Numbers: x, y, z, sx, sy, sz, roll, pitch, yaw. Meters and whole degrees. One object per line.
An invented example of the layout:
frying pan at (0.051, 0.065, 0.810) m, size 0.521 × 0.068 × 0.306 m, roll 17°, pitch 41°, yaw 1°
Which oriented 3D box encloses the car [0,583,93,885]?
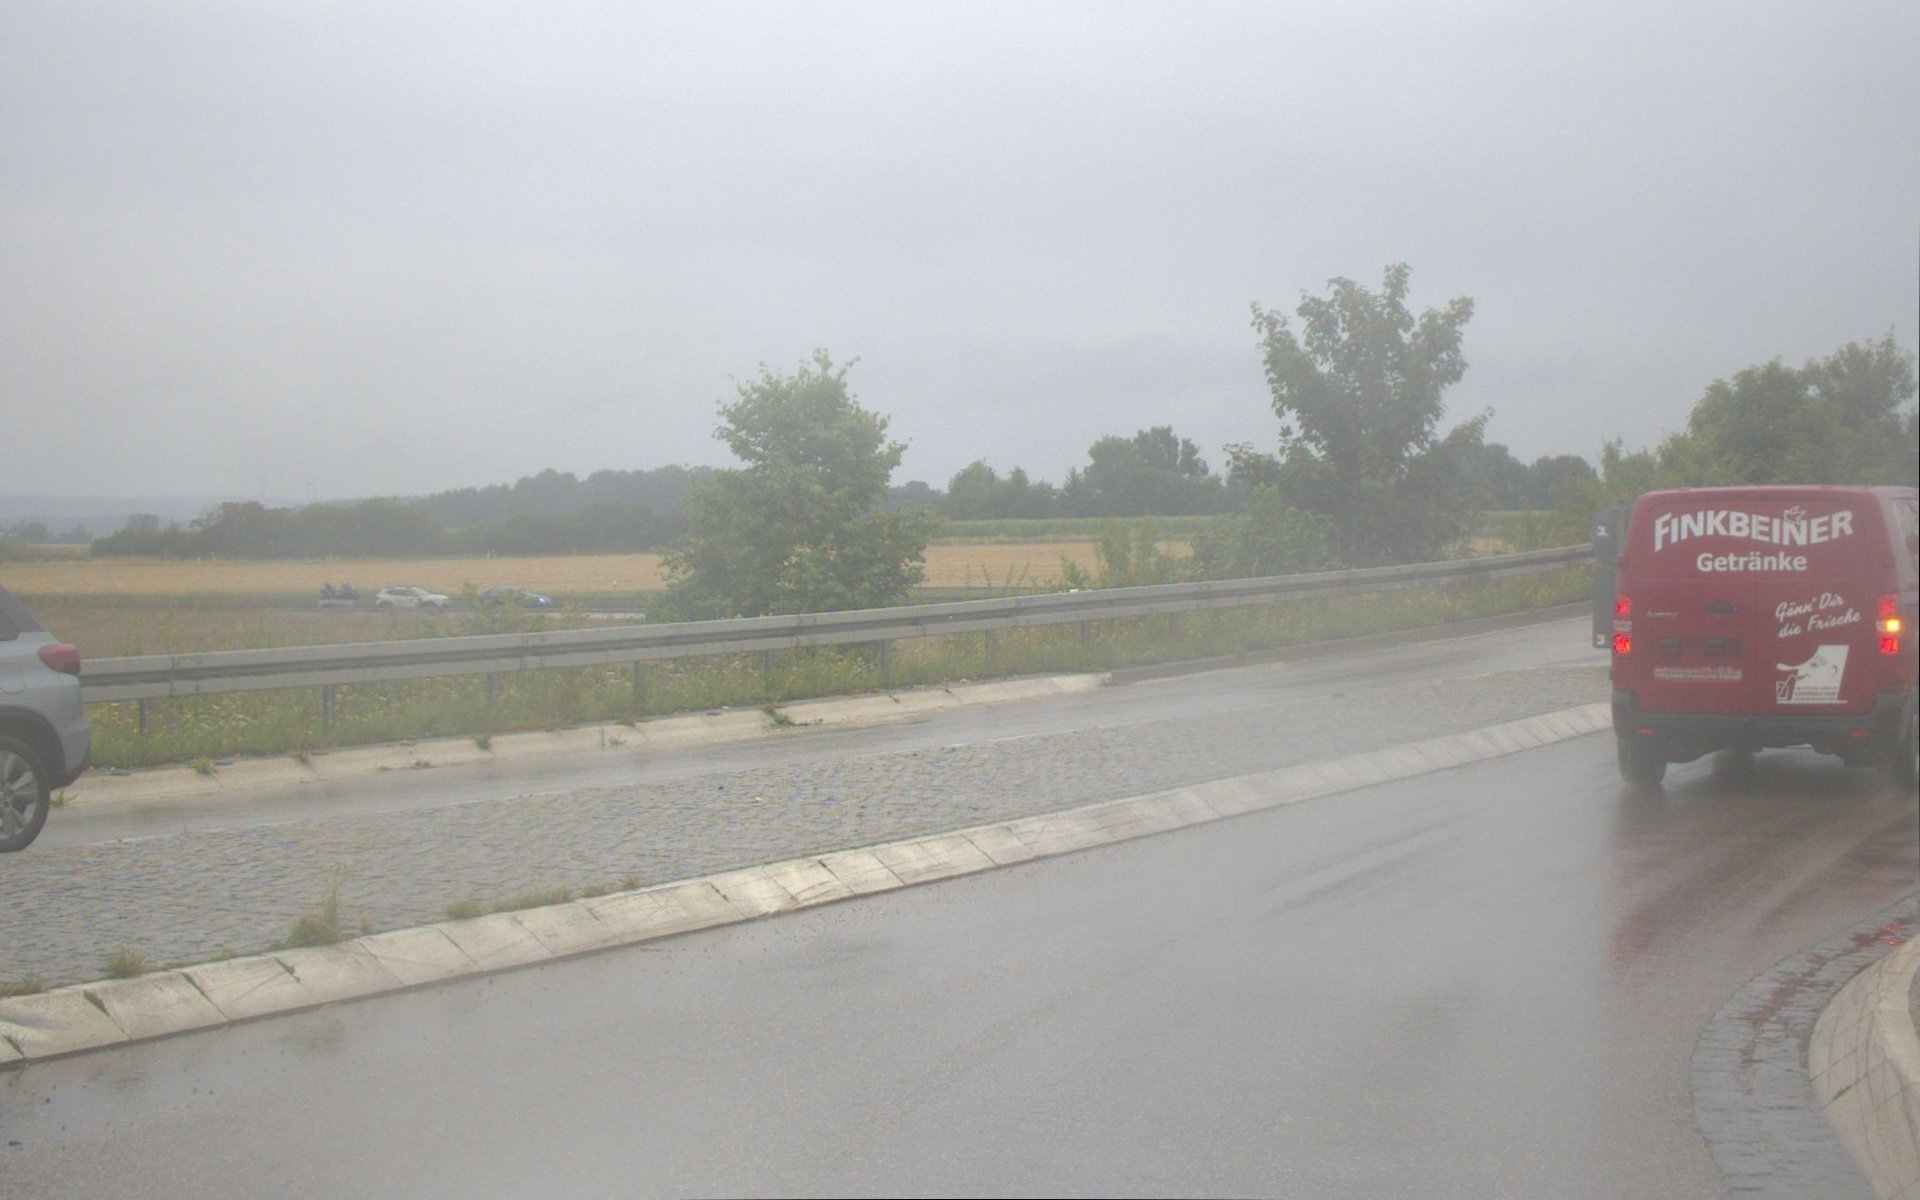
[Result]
car at (-6.593, 0.729, 17.517) m, size 1.804 × 1.569 × 3.992 m, roll 1°, pitch 2°, yaw 36°

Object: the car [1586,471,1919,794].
car at (5.723, 0.114, 23.067) m, size 1.996 × 1.864 × 4.974 m, roll -1°, pitch 2°, yaw 22°
